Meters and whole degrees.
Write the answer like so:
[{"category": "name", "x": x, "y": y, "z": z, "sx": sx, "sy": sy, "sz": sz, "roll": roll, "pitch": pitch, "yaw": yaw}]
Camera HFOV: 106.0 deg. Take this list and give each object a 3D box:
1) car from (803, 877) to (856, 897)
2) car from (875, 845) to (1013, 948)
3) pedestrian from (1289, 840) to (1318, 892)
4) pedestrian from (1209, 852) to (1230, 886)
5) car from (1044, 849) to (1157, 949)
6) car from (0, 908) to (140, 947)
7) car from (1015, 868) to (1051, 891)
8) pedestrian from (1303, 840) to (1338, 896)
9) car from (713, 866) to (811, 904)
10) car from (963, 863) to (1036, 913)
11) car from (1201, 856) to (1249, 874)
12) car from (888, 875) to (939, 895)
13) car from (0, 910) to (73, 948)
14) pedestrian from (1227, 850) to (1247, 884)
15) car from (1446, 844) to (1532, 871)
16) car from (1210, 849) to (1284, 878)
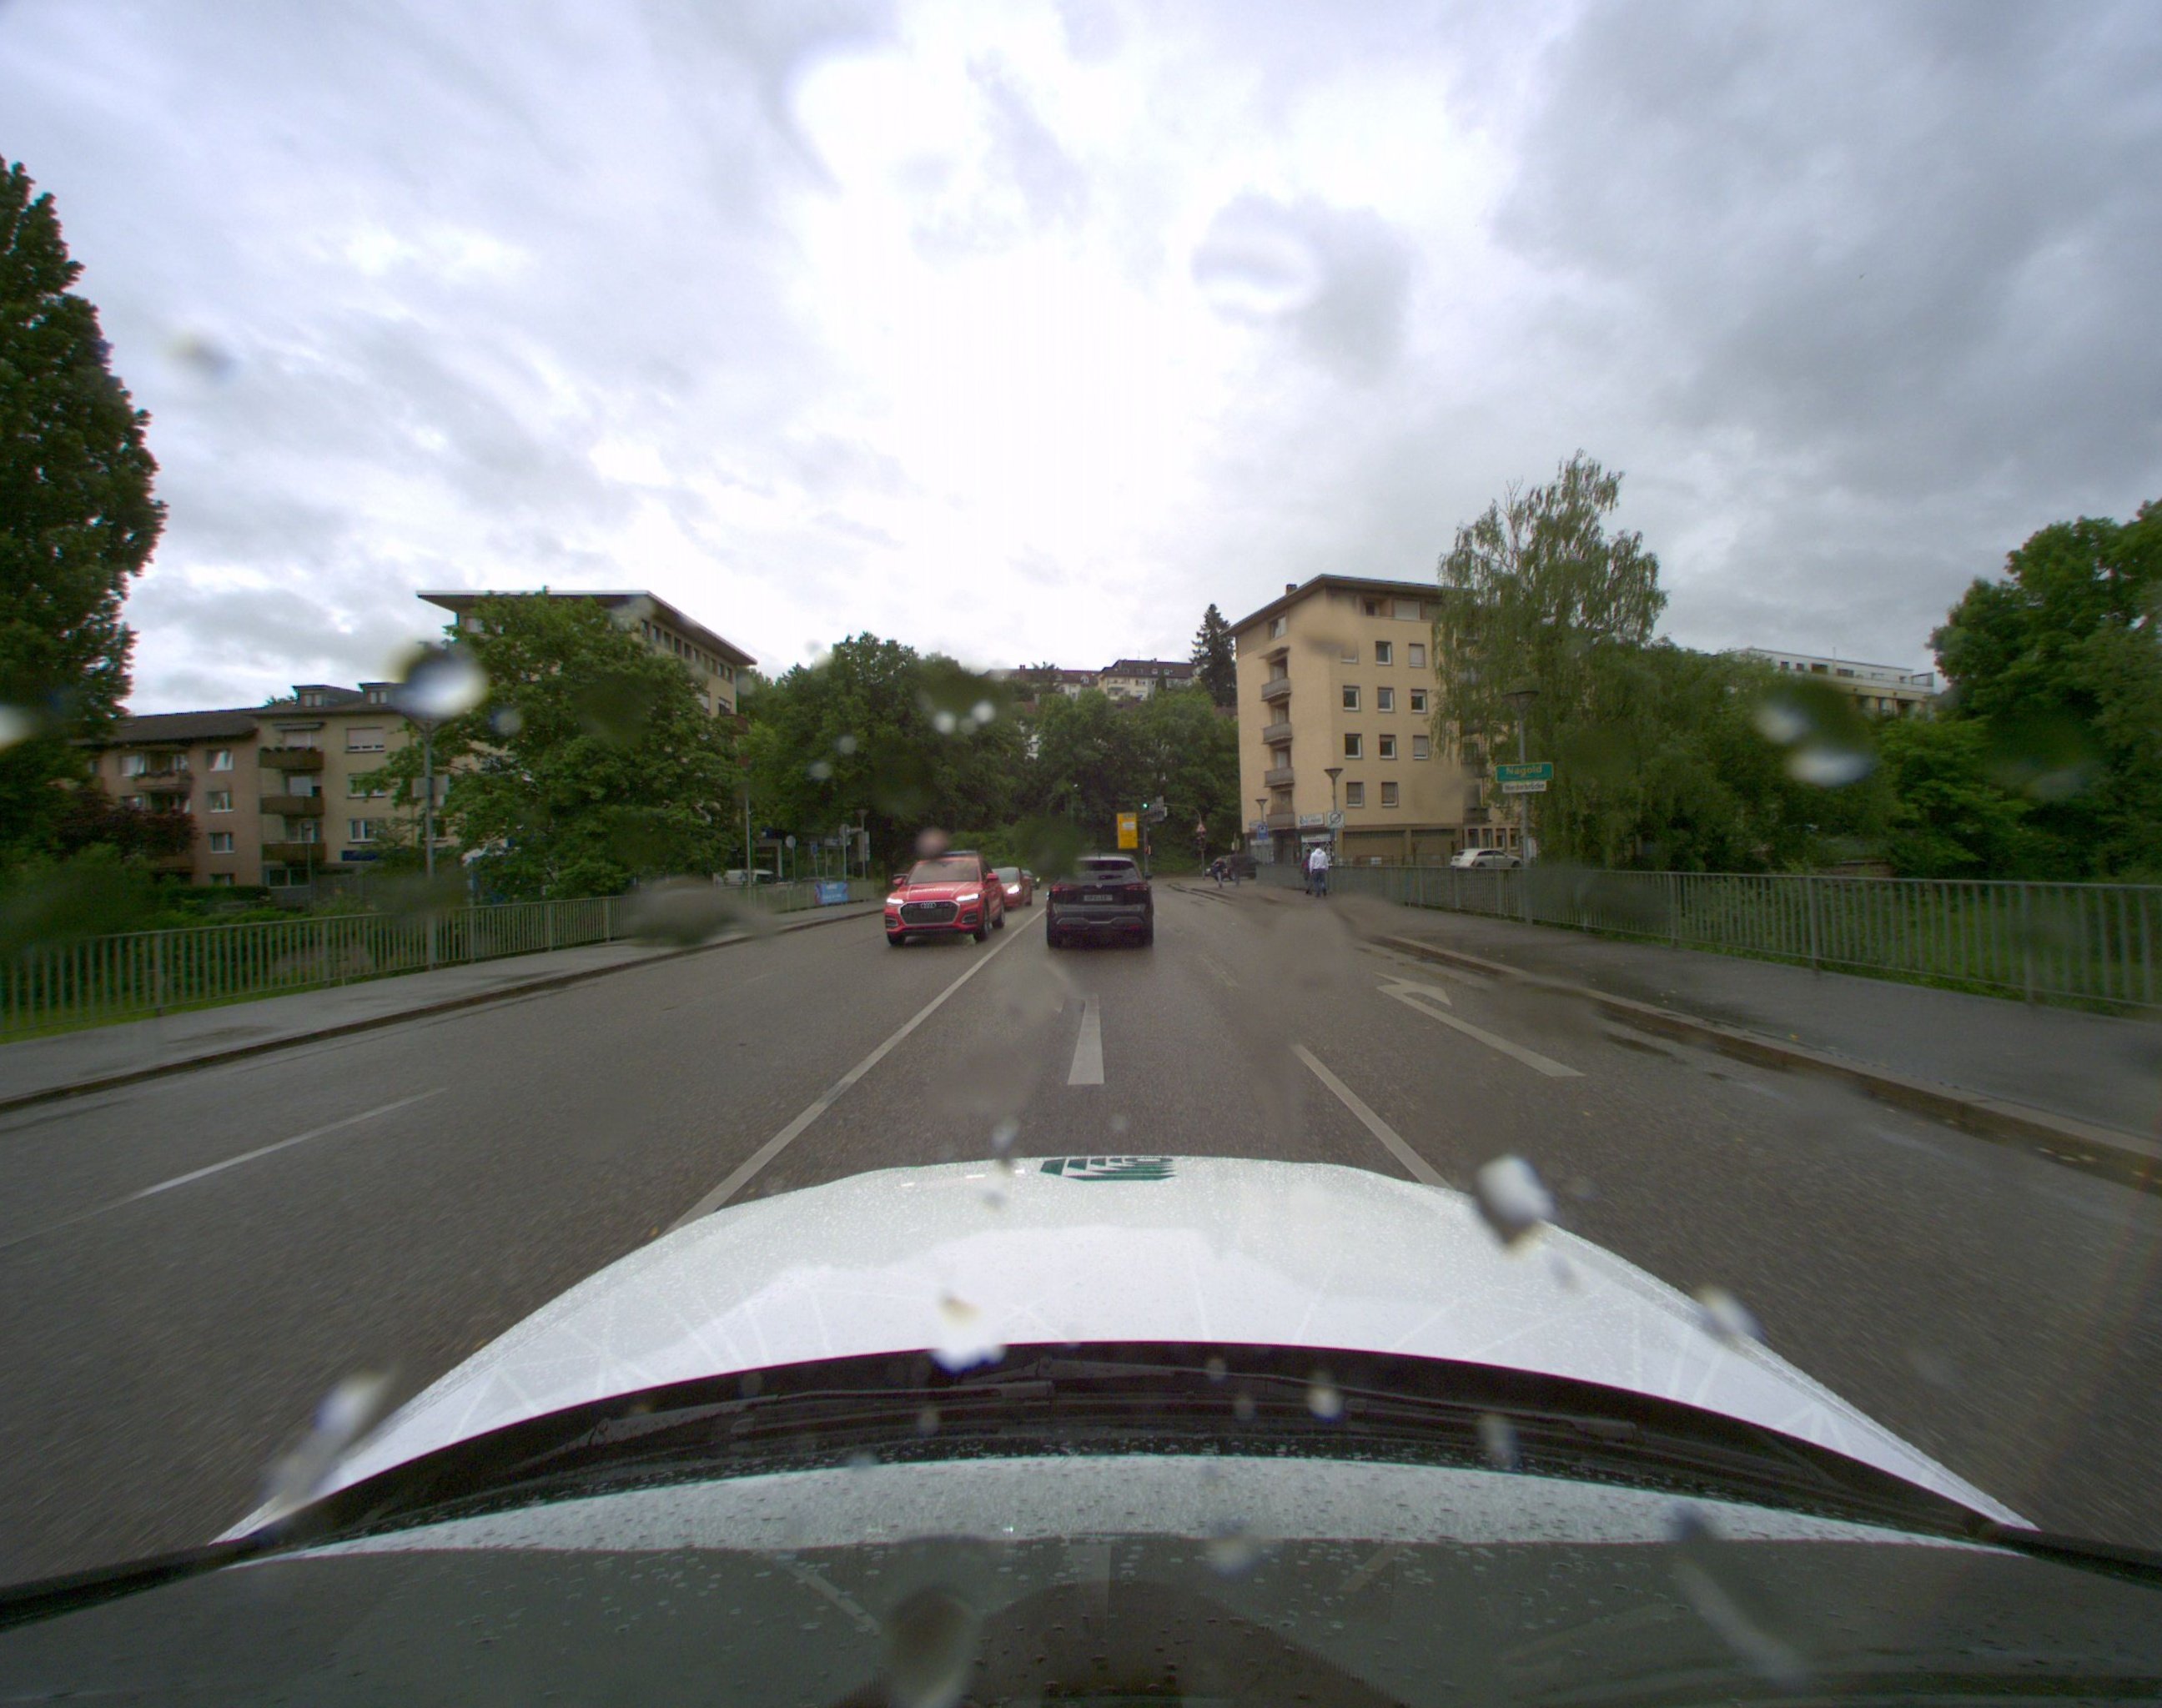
[{"category": "car", "x": -22.356, "y": 2.928, "z": 72.495, "sx": 4.074, "sy": 1.416, "sz": 1.712, "roll": -3, "pitch": -1, "yaw": -5}, {"category": "car", "x": -2.643, "y": 0.769, "z": 16.785, "sx": 1.881, "sy": 1.735, "sz": 4.373, "roll": -3, "pitch": 0, "yaw": 2}, {"category": "pedestrian", "x": 7.967, "y": 0.438, "z": 29.158, "sx": 0.758, "sy": 1.809, "sz": 0.781, "roll": -3, "pitch": -1, "yaw": 1}, {"category": "pedestrian", "x": 6.914, "y": 0.735, "z": 40.789, "sx": 0.859, "sy": 1.619, "sz": 0.840, "roll": -3, "pitch": -1, "yaw": 1}, {"category": "car", "x": 0.368, "y": 0.748, "z": 15.175, "sx": 1.804, "sy": 1.603, "sz": 4.001, "roll": -1, "pitch": -1, "yaw": 1}, {"category": "car", "x": -53.342, "y": 3.872, "z": 42.885, "sx": 4.738, "sy": 1.653, "sz": 1.995, "roll": -2, "pitch": 1, "yaw": -8}, {"category": "car", "x": -3.353, "y": 1.757, "z": 56.184, "sx": 1.712, "sy": 1.416, "sz": 4.073, "roll": -3, "pitch": -1, "yaw": -14}, {"category": "pedestrian", "x": 7.817, "y": 0.459, "z": 26.607, "sx": 0.777, "sy": 1.752, "sz": 1.061, "roll": -2, "pitch": -1, "yaw": 1}, {"category": "car", "x": -17.875, "y": 1.737, "z": 45.822, "sx": 4.738, "sy": 1.854, "sz": 1.995, "roll": -2, "pitch": 1, "yaw": -8}, {"category": "car", "x": -2.617, "y": 1.063, "z": 27.101, "sx": 1.775, "sy": 1.402, "sz": 4.220, "roll": -3, "pitch": 0, "yaw": 2}, {"category": "car", "x": 14.429, "y": 1.079, "z": 81.513, "sx": 4.325, "sy": 1.502, "sz": 1.877, "roll": -3, "pitch": -1, "yaw": -10}, {"category": "car", "x": -13.408, "y": 2.489, "z": 65.317, "sx": 3.665, "sy": 1.420, "sz": 1.629, "roll": -3, "pitch": -1, "yaw": -3}, {"category": "car", "x": -49.201, "y": 3.471, "z": 37.131, "sx": 3.871, "sy": 1.581, "sz": 1.736, "roll": -2, "pitch": 0, "yaw": -8}, {"category": "pedestrian", "x": 7.958, "y": 0.667, "z": 41.512, "sx": 0.758, "sy": 1.677, "sz": 0.781, "roll": -4, "pitch": 0, "yaw": 1}, {"category": "car", "x": 24.050, "y": 0.184, "z": 48.035, "sx": 4.447, "sy": 1.376, "sz": 1.808, "roll": -2, "pitch": 2, "yaw": -15}, {"category": "car", "x": 10.835, "y": 0.635, "z": 53.160, "sx": 4.388, "sy": 1.649, "sz": 1.868, "roll": -3, "pitch": -1, "yaw": -25}]
